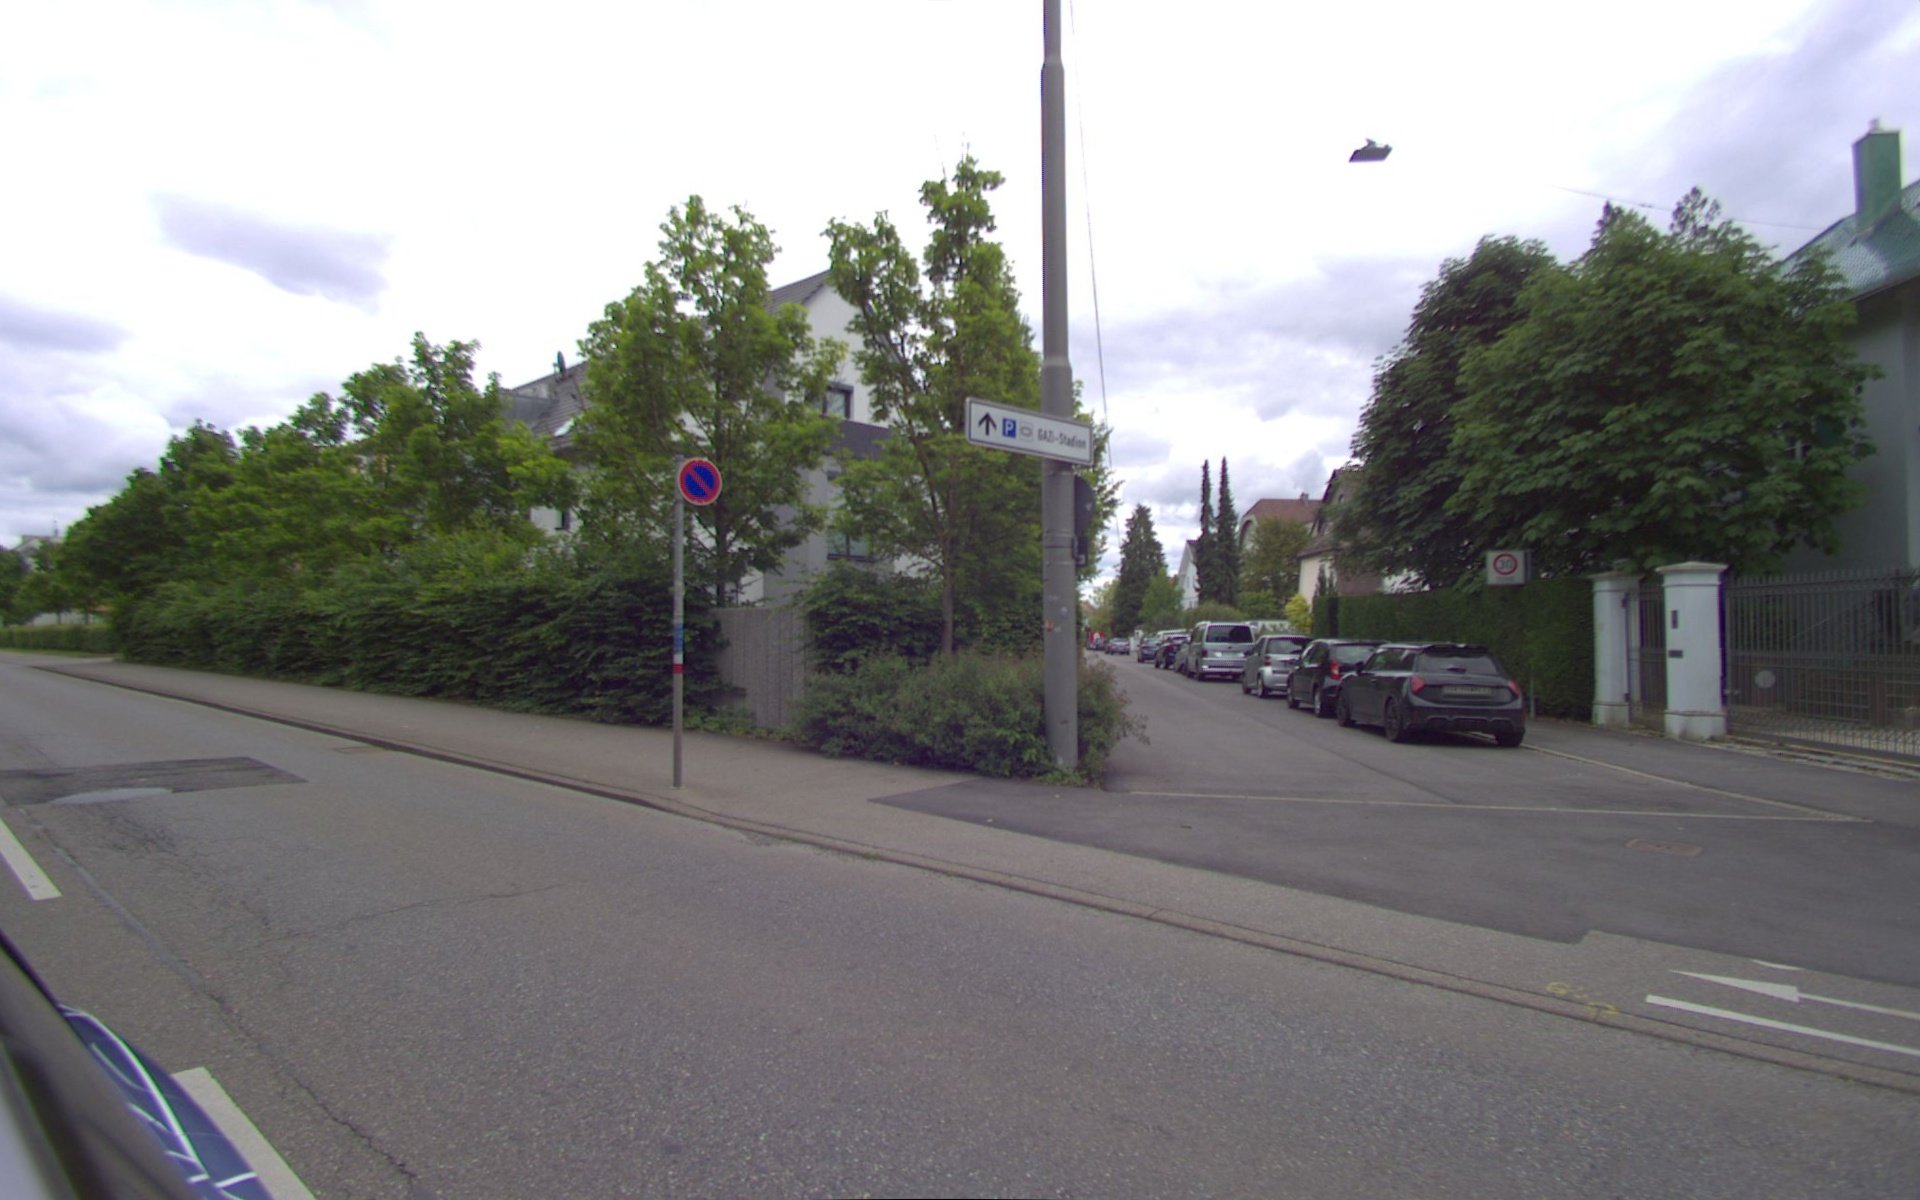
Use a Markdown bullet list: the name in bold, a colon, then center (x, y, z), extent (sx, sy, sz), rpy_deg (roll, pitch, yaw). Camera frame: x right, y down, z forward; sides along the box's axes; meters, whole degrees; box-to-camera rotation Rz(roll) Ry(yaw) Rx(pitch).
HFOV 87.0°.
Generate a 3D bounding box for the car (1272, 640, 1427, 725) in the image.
- **car**: center (7.499, 1.532, 19.886), extent (1.785, 1.431, 3.993), rpy_deg (0, -2, 5)

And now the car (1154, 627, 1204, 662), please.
- **car**: center (10.063, 2.021, 46.764), extent (1.785, 1.534, 3.993), rpy_deg (0, -2, 5)

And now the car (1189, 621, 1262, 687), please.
- **car**: center (8.914, 1.780, 34.274), extent (1.843, 2.071, 3.991), rpy_deg (0, -2, 7)

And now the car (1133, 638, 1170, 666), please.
- **car**: center (11.290, 3.028, 59.840), extent (1.785, 1.534, 3.993), rpy_deg (0, -2, 5)

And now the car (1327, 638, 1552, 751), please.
- **car**: center (7.055, 1.322, 15.377), extent (1.785, 1.431, 3.993), rpy_deg (0, -2, 5)

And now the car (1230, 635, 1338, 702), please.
- **car**: center (8.158, 1.690, 25.847), extent (1.785, 1.534, 3.993), rpy_deg (0, -2, 5)
